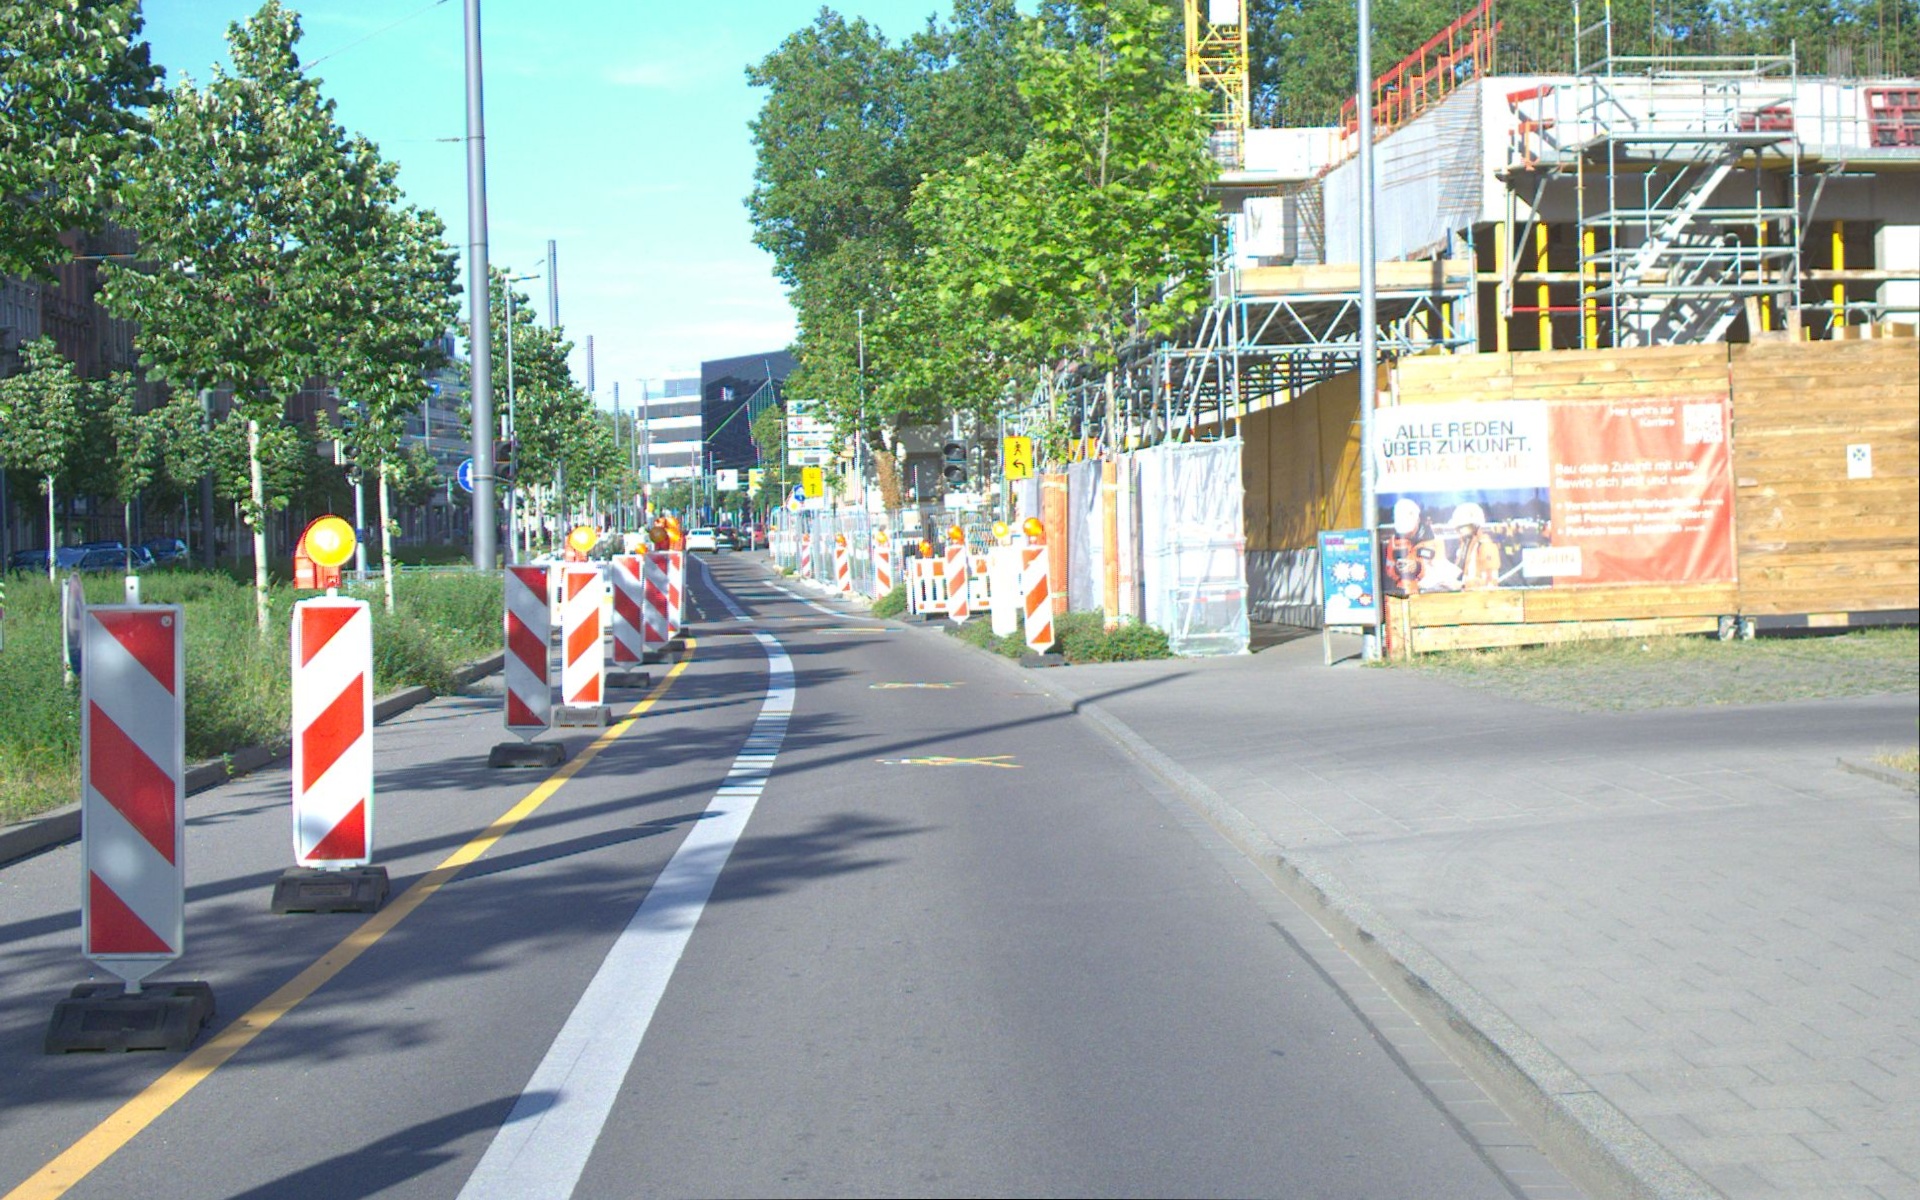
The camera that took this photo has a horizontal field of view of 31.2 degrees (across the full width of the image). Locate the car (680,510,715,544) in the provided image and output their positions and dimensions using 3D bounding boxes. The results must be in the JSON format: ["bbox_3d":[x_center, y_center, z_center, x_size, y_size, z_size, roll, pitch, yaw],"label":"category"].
[{"bbox_3d":[-14.909,-4.158,195.042,1.883,1.836,3.668,-2,2,-5],"label":"car"}]

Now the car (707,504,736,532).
[{"bbox_3d":[-16.582,-5.716,238.825,1.883,1.836,3.668,-2,2,-5],"label":"car"}]

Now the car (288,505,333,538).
[{"bbox_3d":[-30.087,-3.636,159.260,1.594,1.478,3.624,0,1,-3],"label":"car"}]
